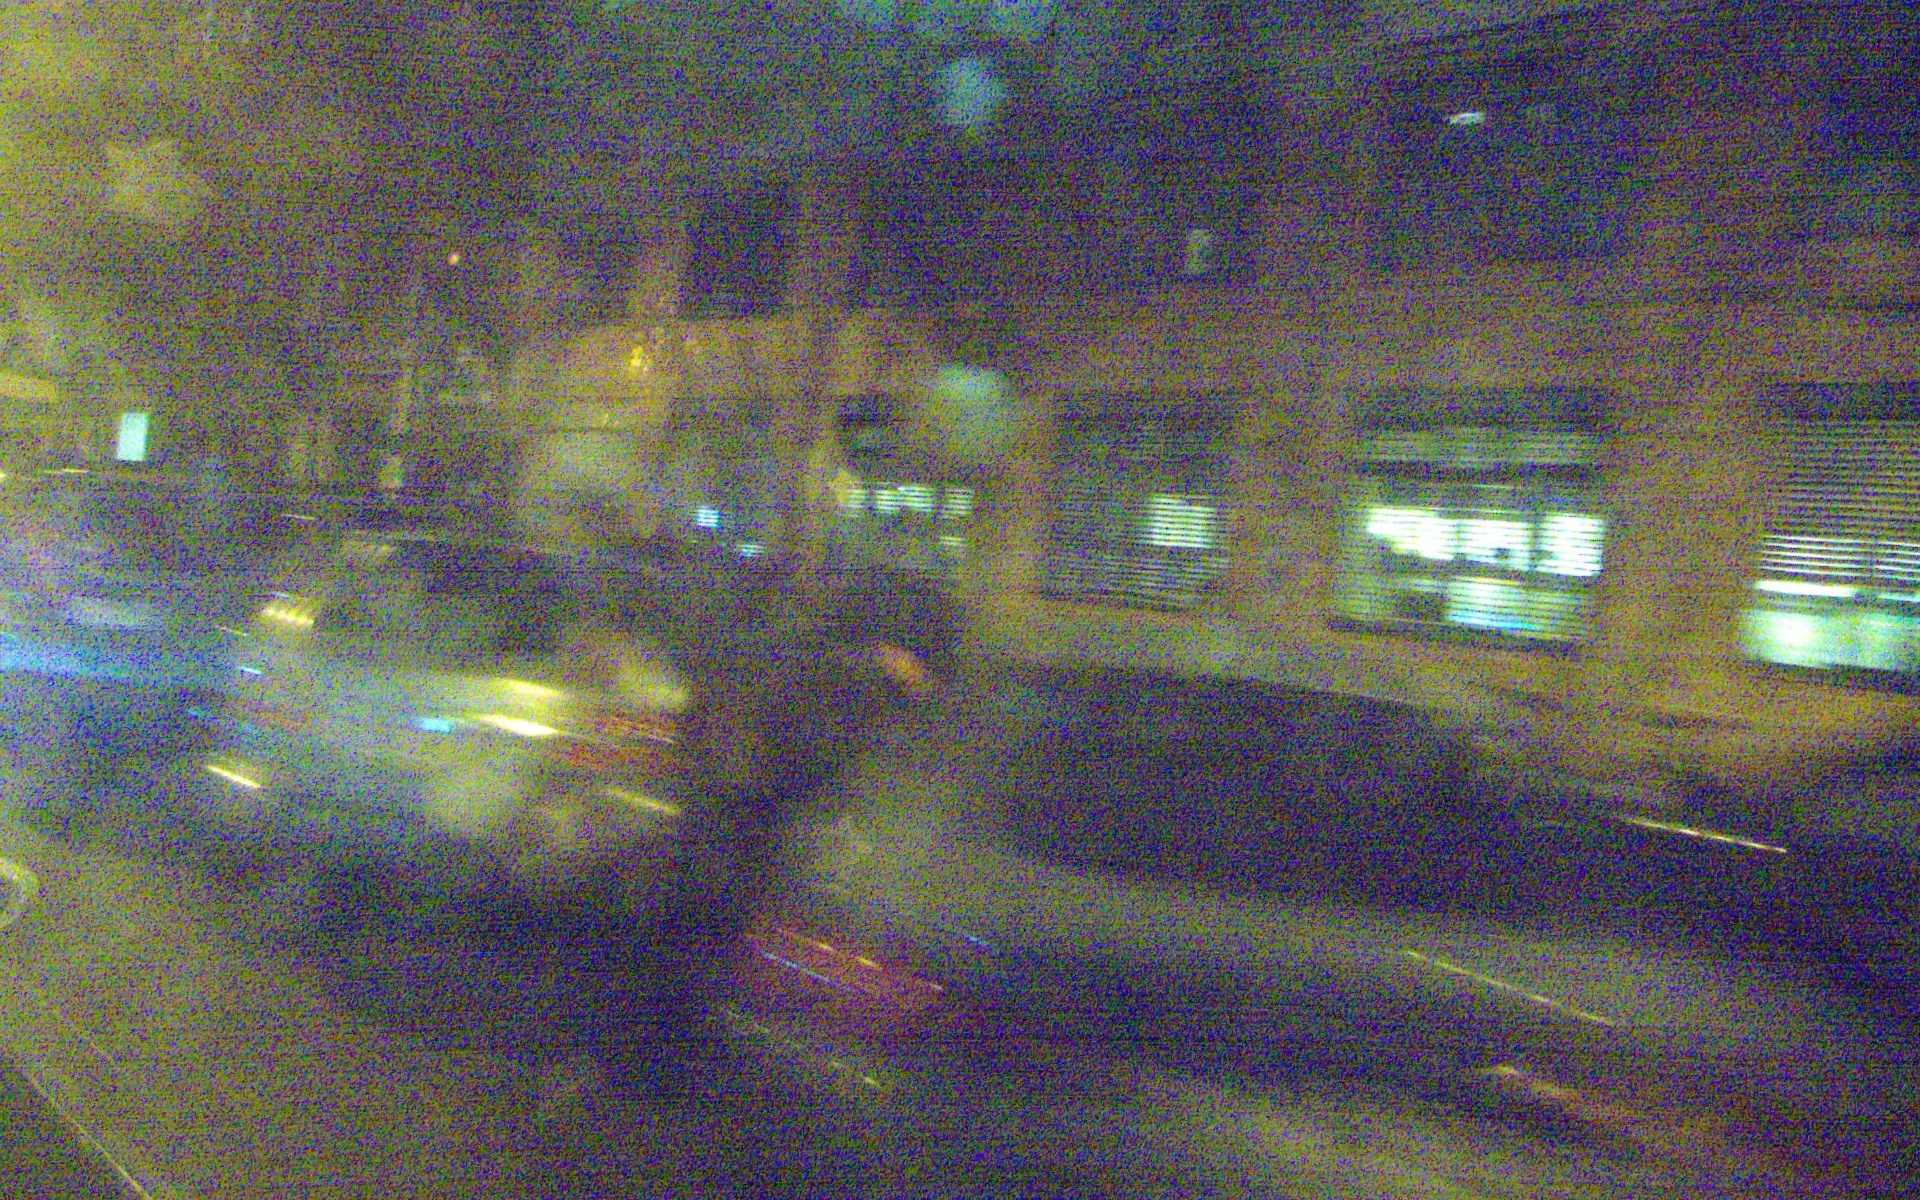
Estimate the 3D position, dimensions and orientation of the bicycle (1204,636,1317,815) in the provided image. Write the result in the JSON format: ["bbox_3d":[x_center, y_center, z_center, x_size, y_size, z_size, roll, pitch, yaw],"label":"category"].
[{"bbox_3d":[2.409,0.913,7.942,0.532,1.162,1.687,7,3,24],"label":"bicycle"}]

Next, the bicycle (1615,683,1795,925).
[{"bbox_3d":[4.614,1.186,6.341,0.421,1.162,1.687,7,3,24],"label":"bicycle"}]

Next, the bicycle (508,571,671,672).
[{"bbox_3d":[-4.340,0.246,11.956,0.501,1.069,1.974,6,2,25],"label":"bicycle"}]

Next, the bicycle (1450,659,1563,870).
[{"bbox_3d":[3.733,1.053,6.963,0.421,1.162,1.687,7,3,24],"label":"bicycle"}]

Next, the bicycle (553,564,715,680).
[{"bbox_3d":[-3.738,0.244,11.711,0.501,1.207,1.974,6,2,25],"label":"bicycle"}]

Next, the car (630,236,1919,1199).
[{"bbox_3d":[0.647,0.615,3.266,1.824,1.785,4.110,7,-1,4],"label":"car"}]

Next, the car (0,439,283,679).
[{"bbox_3d":[-8.429,-0.426,9.183,1.685,1.883,4.242,5,1,-3],"label":"car"}]

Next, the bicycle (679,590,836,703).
[{"bbox_3d":[-2.121,0.472,10.844,0.501,1.069,1.974,6,2,25],"label":"bicycle"}]

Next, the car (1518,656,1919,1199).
[{"bbox_3d":[2.726,1.039,1.919,1.680,1.630,3.569,7,-1,10],"label":"car"}]

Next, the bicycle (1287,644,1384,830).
[{"bbox_3d":[2.898,0.968,7.681,0.477,1.162,1.687,7,3,24],"label":"bicycle"}]

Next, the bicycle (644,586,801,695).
[{"bbox_3d":[-2.582,0.423,11.174,0.501,1.069,1.974,6,2,25],"label":"bicycle"}]

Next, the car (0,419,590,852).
[{"bbox_3d":[-3.944,0.168,6.312,1.710,1.749,3.804,7,-1,-1],"label":"car"}]

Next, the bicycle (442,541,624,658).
[{"bbox_3d":[-5.433,0.014,12.903,0.771,1.353,1.968,7,3,38],"label":"bicycle"}]

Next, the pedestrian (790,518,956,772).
[{"bbox_3d":[-0.688,0.314,8.050,0.931,1.862,0.838,5,5,28],"label":"pedestrian"}]

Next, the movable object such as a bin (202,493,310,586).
[{"bbox_3d":[-11.923,-1.014,17.058,0.982,1.472,1.208,7,5,32],"label":"movable object such as a bin"}]

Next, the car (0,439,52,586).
[{"bbox_3d":[-15.728,-1.437,14.021,1.911,2.276,4.721,6,0,-4],"label":"car"}]

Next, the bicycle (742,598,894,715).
[{"bbox_3d":[-1.436,0.552,10.556,0.501,1.069,1.974,6,2,25],"label":"bicycle"}]

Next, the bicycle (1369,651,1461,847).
[{"bbox_3d":[3.311,1.012,7.354,0.421,1.162,1.687,7,3,24],"label":"bicycle"}]

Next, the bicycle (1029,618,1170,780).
[{"bbox_3d":[1.240,0.781,8.643,0.653,1.162,1.687,7,3,24],"label":"bicycle"}]

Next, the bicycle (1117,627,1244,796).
[{"bbox_3d":[1.860,0.855,8.325,0.586,1.162,1.687,7,3,24],"label":"bicycle"}]

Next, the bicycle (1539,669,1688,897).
[{"bbox_3d":[4.196,1.101,6.560,0.421,1.162,1.687,7,3,24],"label":"bicycle"}]

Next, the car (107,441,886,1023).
[{"bbox_3d":[-1.659,0.476,5.255,1.810,1.630,4.065,7,-1,4],"label":"car"}]

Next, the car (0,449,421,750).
[{"bbox_3d":[-6.168,-0.032,7.919,1.685,1.749,3.775,7,-1,-1],"label":"car"}]
